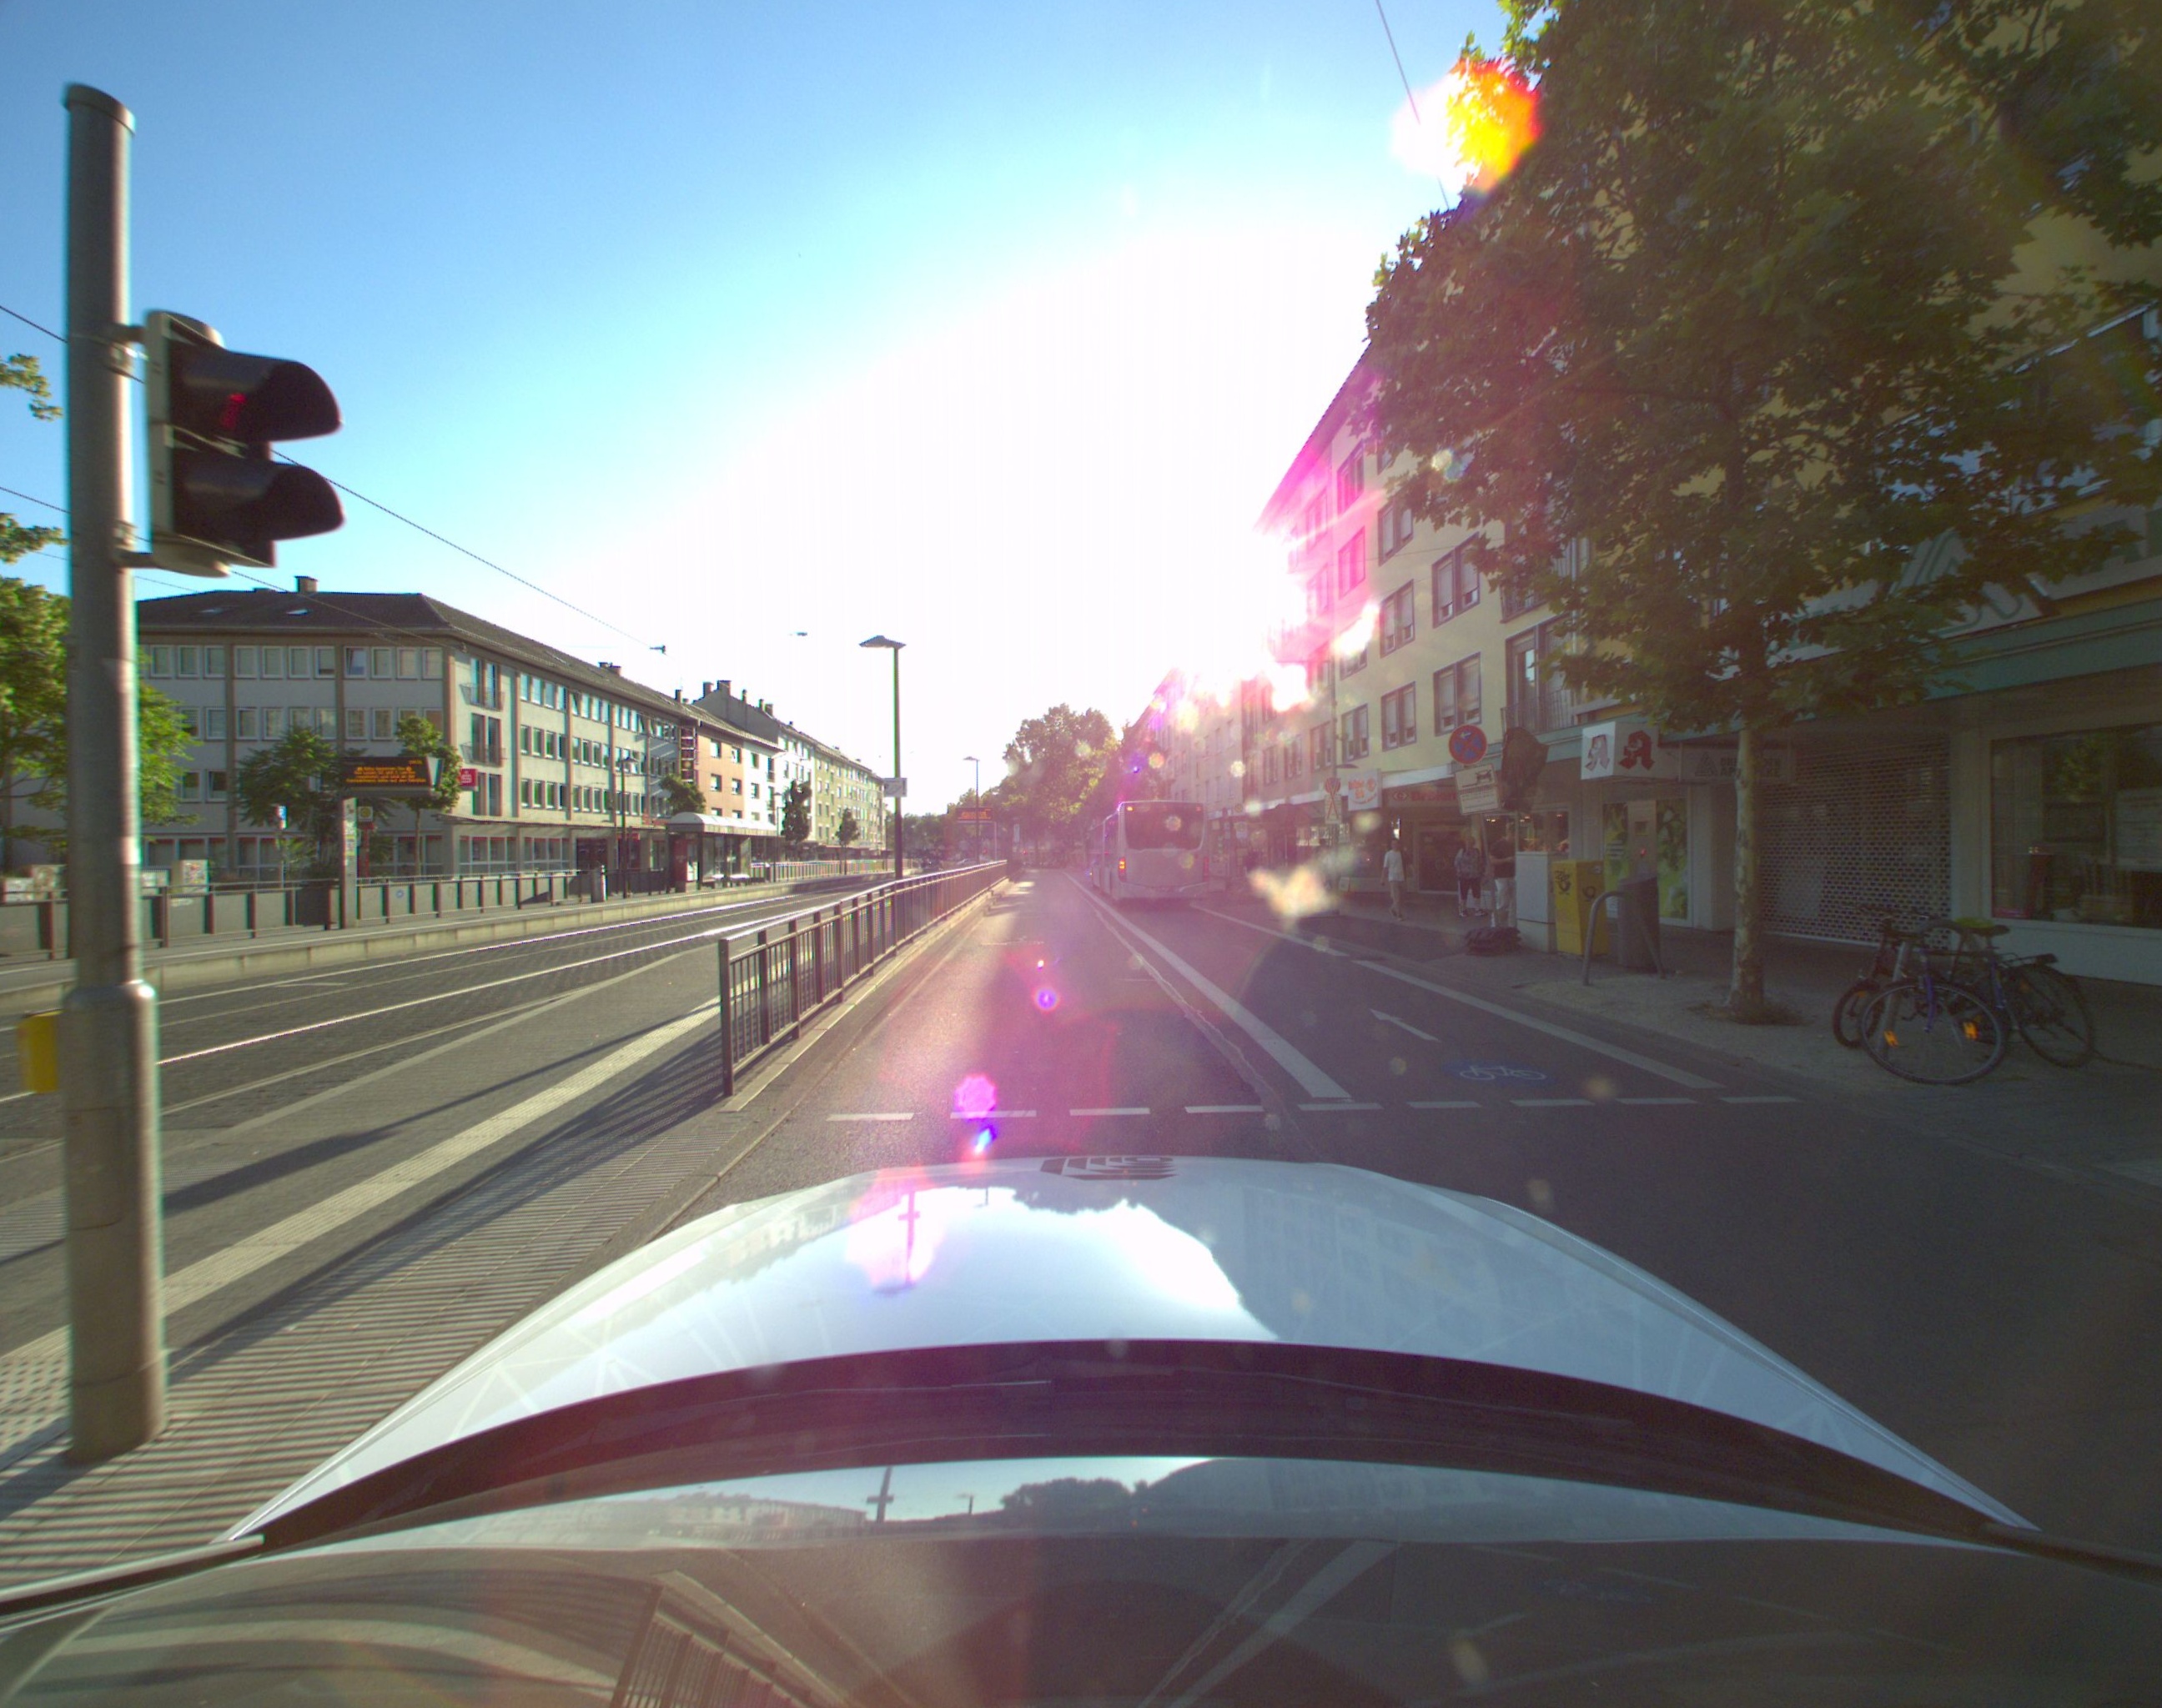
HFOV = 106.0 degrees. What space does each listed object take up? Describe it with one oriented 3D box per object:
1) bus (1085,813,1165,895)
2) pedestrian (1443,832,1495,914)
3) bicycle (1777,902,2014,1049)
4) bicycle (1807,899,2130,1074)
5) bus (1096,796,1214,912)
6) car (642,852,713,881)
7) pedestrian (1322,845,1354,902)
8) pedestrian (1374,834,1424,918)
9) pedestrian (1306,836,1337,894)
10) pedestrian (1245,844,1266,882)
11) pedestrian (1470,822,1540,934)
[{"bbox_3d":[1.732,-0.009,35.813,2.690,3.118,9.062,0,0,-2],"label":"bus"},{"bbox_3d":[8.443,0.408,17.729,0.722,1.723,0.765,-1,0,-3],"label":"pedestrian"},{"bbox_3d":[6.191,0.901,6.210,1.481,1.008,0.453,-1,0,-6],"label":"bicycle"},{"bbox_3d":[6.146,0.885,5.670,1.796,1.008,0.540,-3,0,-6],"label":"bicycle"},{"bbox_3d":[2.093,0.001,26.643,2.690,3.118,9.373,0,0,-2],"label":"bus"},{"bbox_3d":[-24.806,0.759,50.146,1.748,1.679,3.533,-1,0,36],"label":"car"},{"bbox_3d":[7.306,0.540,23.176,0.609,1.578,0.850,-1,0,-3],"label":"pedestrian"},{"bbox_3d":[6.875,0.464,17.643,0.722,1.779,0.765,-1,0,-3],"label":"pedestrian"},{"bbox_3d":[7.694,0.350,26.107,0.722,1.840,0.765,-1,0,-3],"label":"pedestrian"},{"bbox_3d":[7.690,0.406,35.966,0.722,1.632,0.765,-1,0,-3],"label":"pedestrian"},{"bbox_3d":[7.081,0.395,13.627,0.722,1.806,0.765,-1,0,-3],"label":"pedestrian"}]
